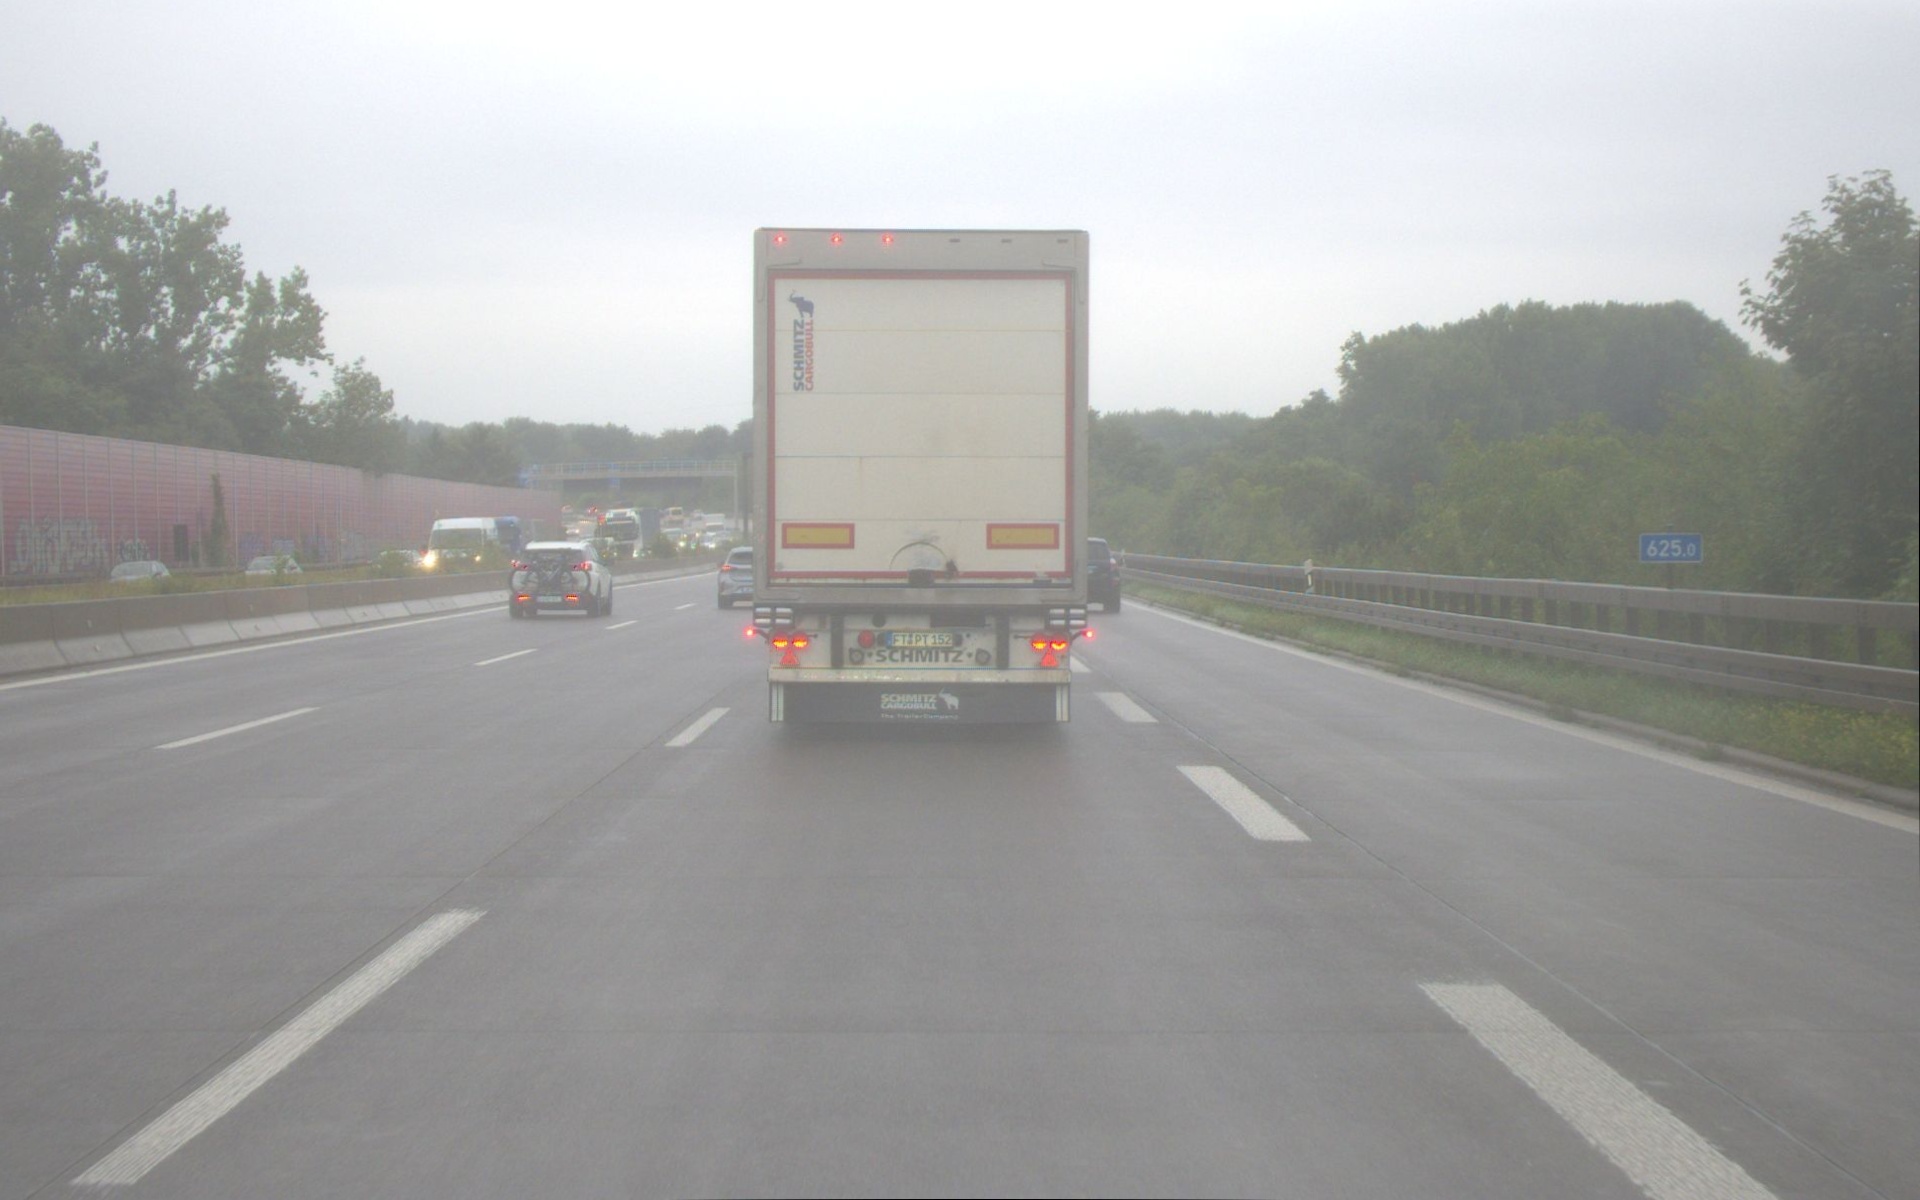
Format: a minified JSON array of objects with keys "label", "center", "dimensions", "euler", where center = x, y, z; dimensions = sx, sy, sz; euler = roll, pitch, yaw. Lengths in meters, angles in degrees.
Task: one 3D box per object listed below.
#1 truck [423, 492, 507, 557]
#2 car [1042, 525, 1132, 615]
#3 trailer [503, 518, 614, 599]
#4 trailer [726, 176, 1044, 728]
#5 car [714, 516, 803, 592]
[{"label":"truck","center":[-17.213,-2.613,119.690],"dimensions":[2.145,2.198,5.419],"euler":[0,1,0]},{"label":"car","center":[2.859,-0.706,78.081],"dimensions":[1.897,1.943,4.000],"euler":[1,1,1]},{"label":"trailer","center":[-8.327,-0.889,71.643],"dimensions":[1.815,1.619,4.568],"euler":[0,2,0]},{"label":"trailer","center":[-0.642,-1.187,33.492],"dimensions":[2.342,4.143,14.827],"euler":[1,0,-1]},{"label":"car","center":[-4.742,-1.097,81.342],"dimensions":[1.894,1.717,4.000],"euler":[1,1,-1]}]
